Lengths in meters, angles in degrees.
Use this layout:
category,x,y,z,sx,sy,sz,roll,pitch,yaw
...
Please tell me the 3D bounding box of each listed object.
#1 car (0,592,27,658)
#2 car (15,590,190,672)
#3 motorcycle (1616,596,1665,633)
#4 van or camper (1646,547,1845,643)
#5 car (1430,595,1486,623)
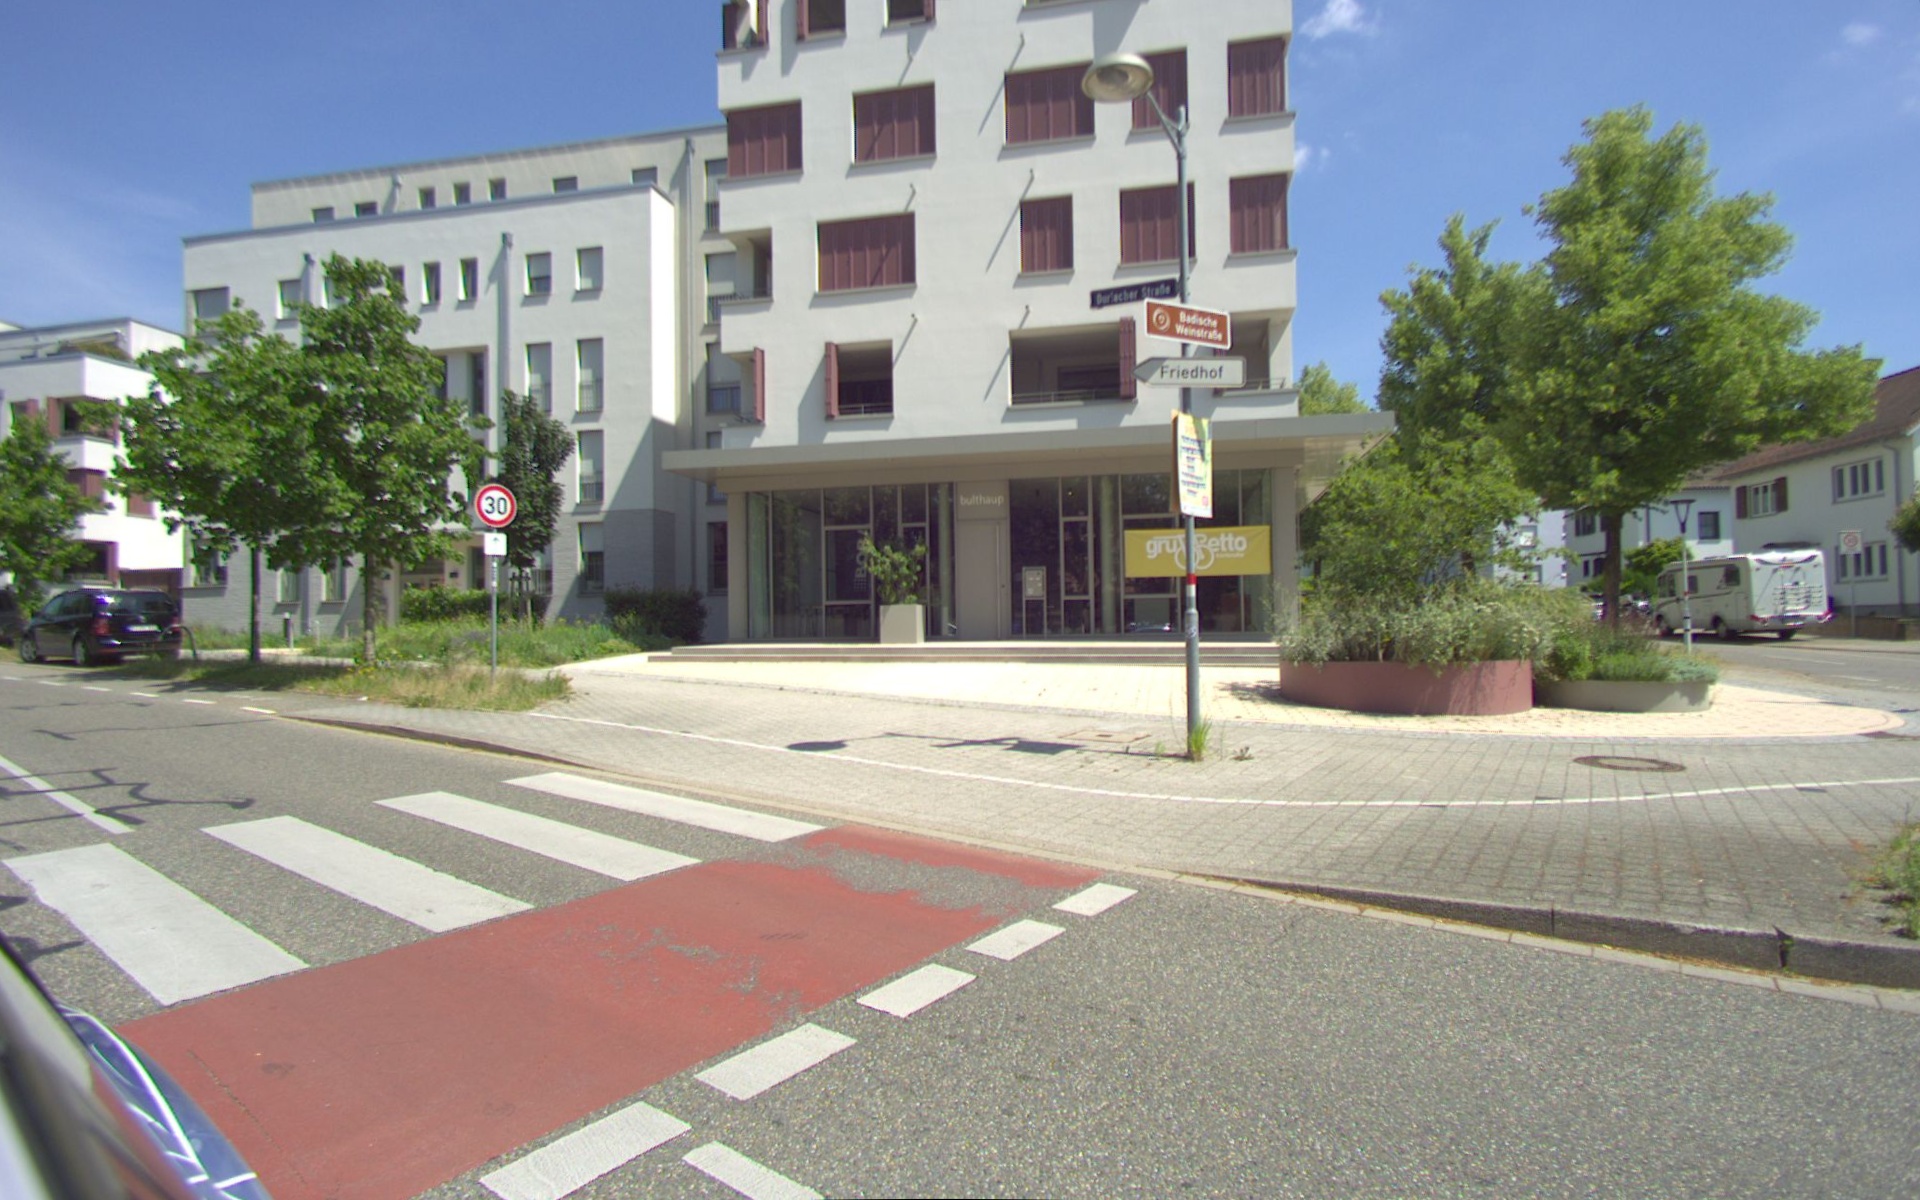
category,x,y,z,sx,sy,sz,roll,pitch,yaw
car,-26.403,0.649,26.659,3.613,1.713,1.682,0,0,30
car,-18.828,0.630,22.191,4.004,1.650,1.682,0,0,30
motorcycle,25.395,0.528,37.756,2.196,1.329,0.741,0,0,-34
van or camper,24.776,-0.132,32.306,2.248,2.658,5.870,-3,-1,8
car,28.024,0.495,57.051,1.737,1.516,3.980,-1,0,9
